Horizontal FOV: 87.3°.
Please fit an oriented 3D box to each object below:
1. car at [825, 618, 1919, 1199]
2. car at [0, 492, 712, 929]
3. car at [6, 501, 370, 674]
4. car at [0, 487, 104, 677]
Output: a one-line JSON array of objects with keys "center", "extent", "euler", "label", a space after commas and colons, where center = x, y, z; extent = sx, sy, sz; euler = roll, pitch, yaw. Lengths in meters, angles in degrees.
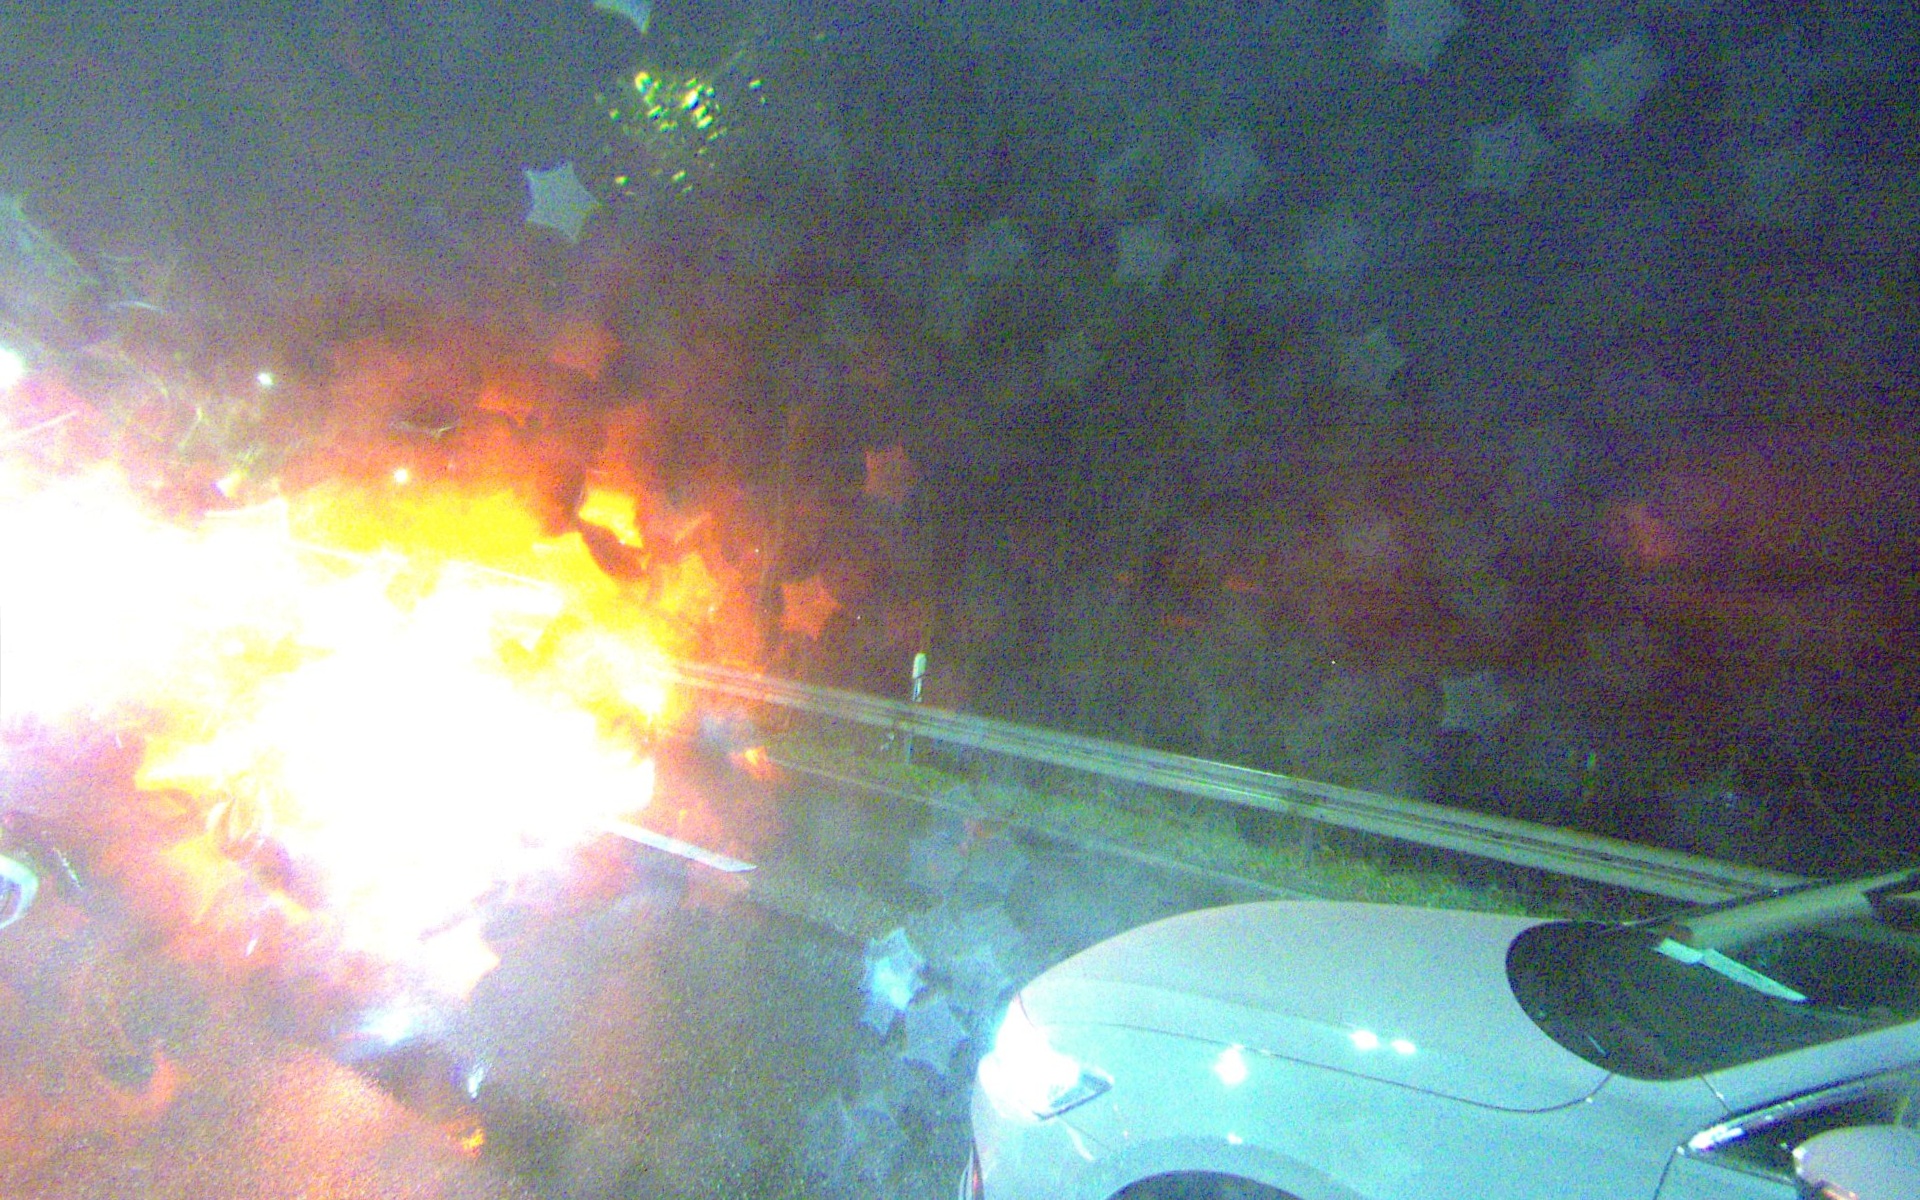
[{"center": [2.041, 1.082, 1.587], "extent": [4.342, 1.539, 1.710], "euler": [6, -2, 32], "label": "car"}, {"center": [-3.719, 0.396, 5.720], "extent": [4.484, 1.522, 1.677], "euler": [6, -3, 32], "label": "car"}, {"center": [-9.592, -0.182, 12.453], "extent": [4.266, 1.496, 2.000], "euler": [6, -4, 31], "label": "car"}, {"center": [-9.695, -0.356, 9.039], "extent": [3.892, 1.539, 1.681], "euler": [6, -2, 29], "label": "car"}]
